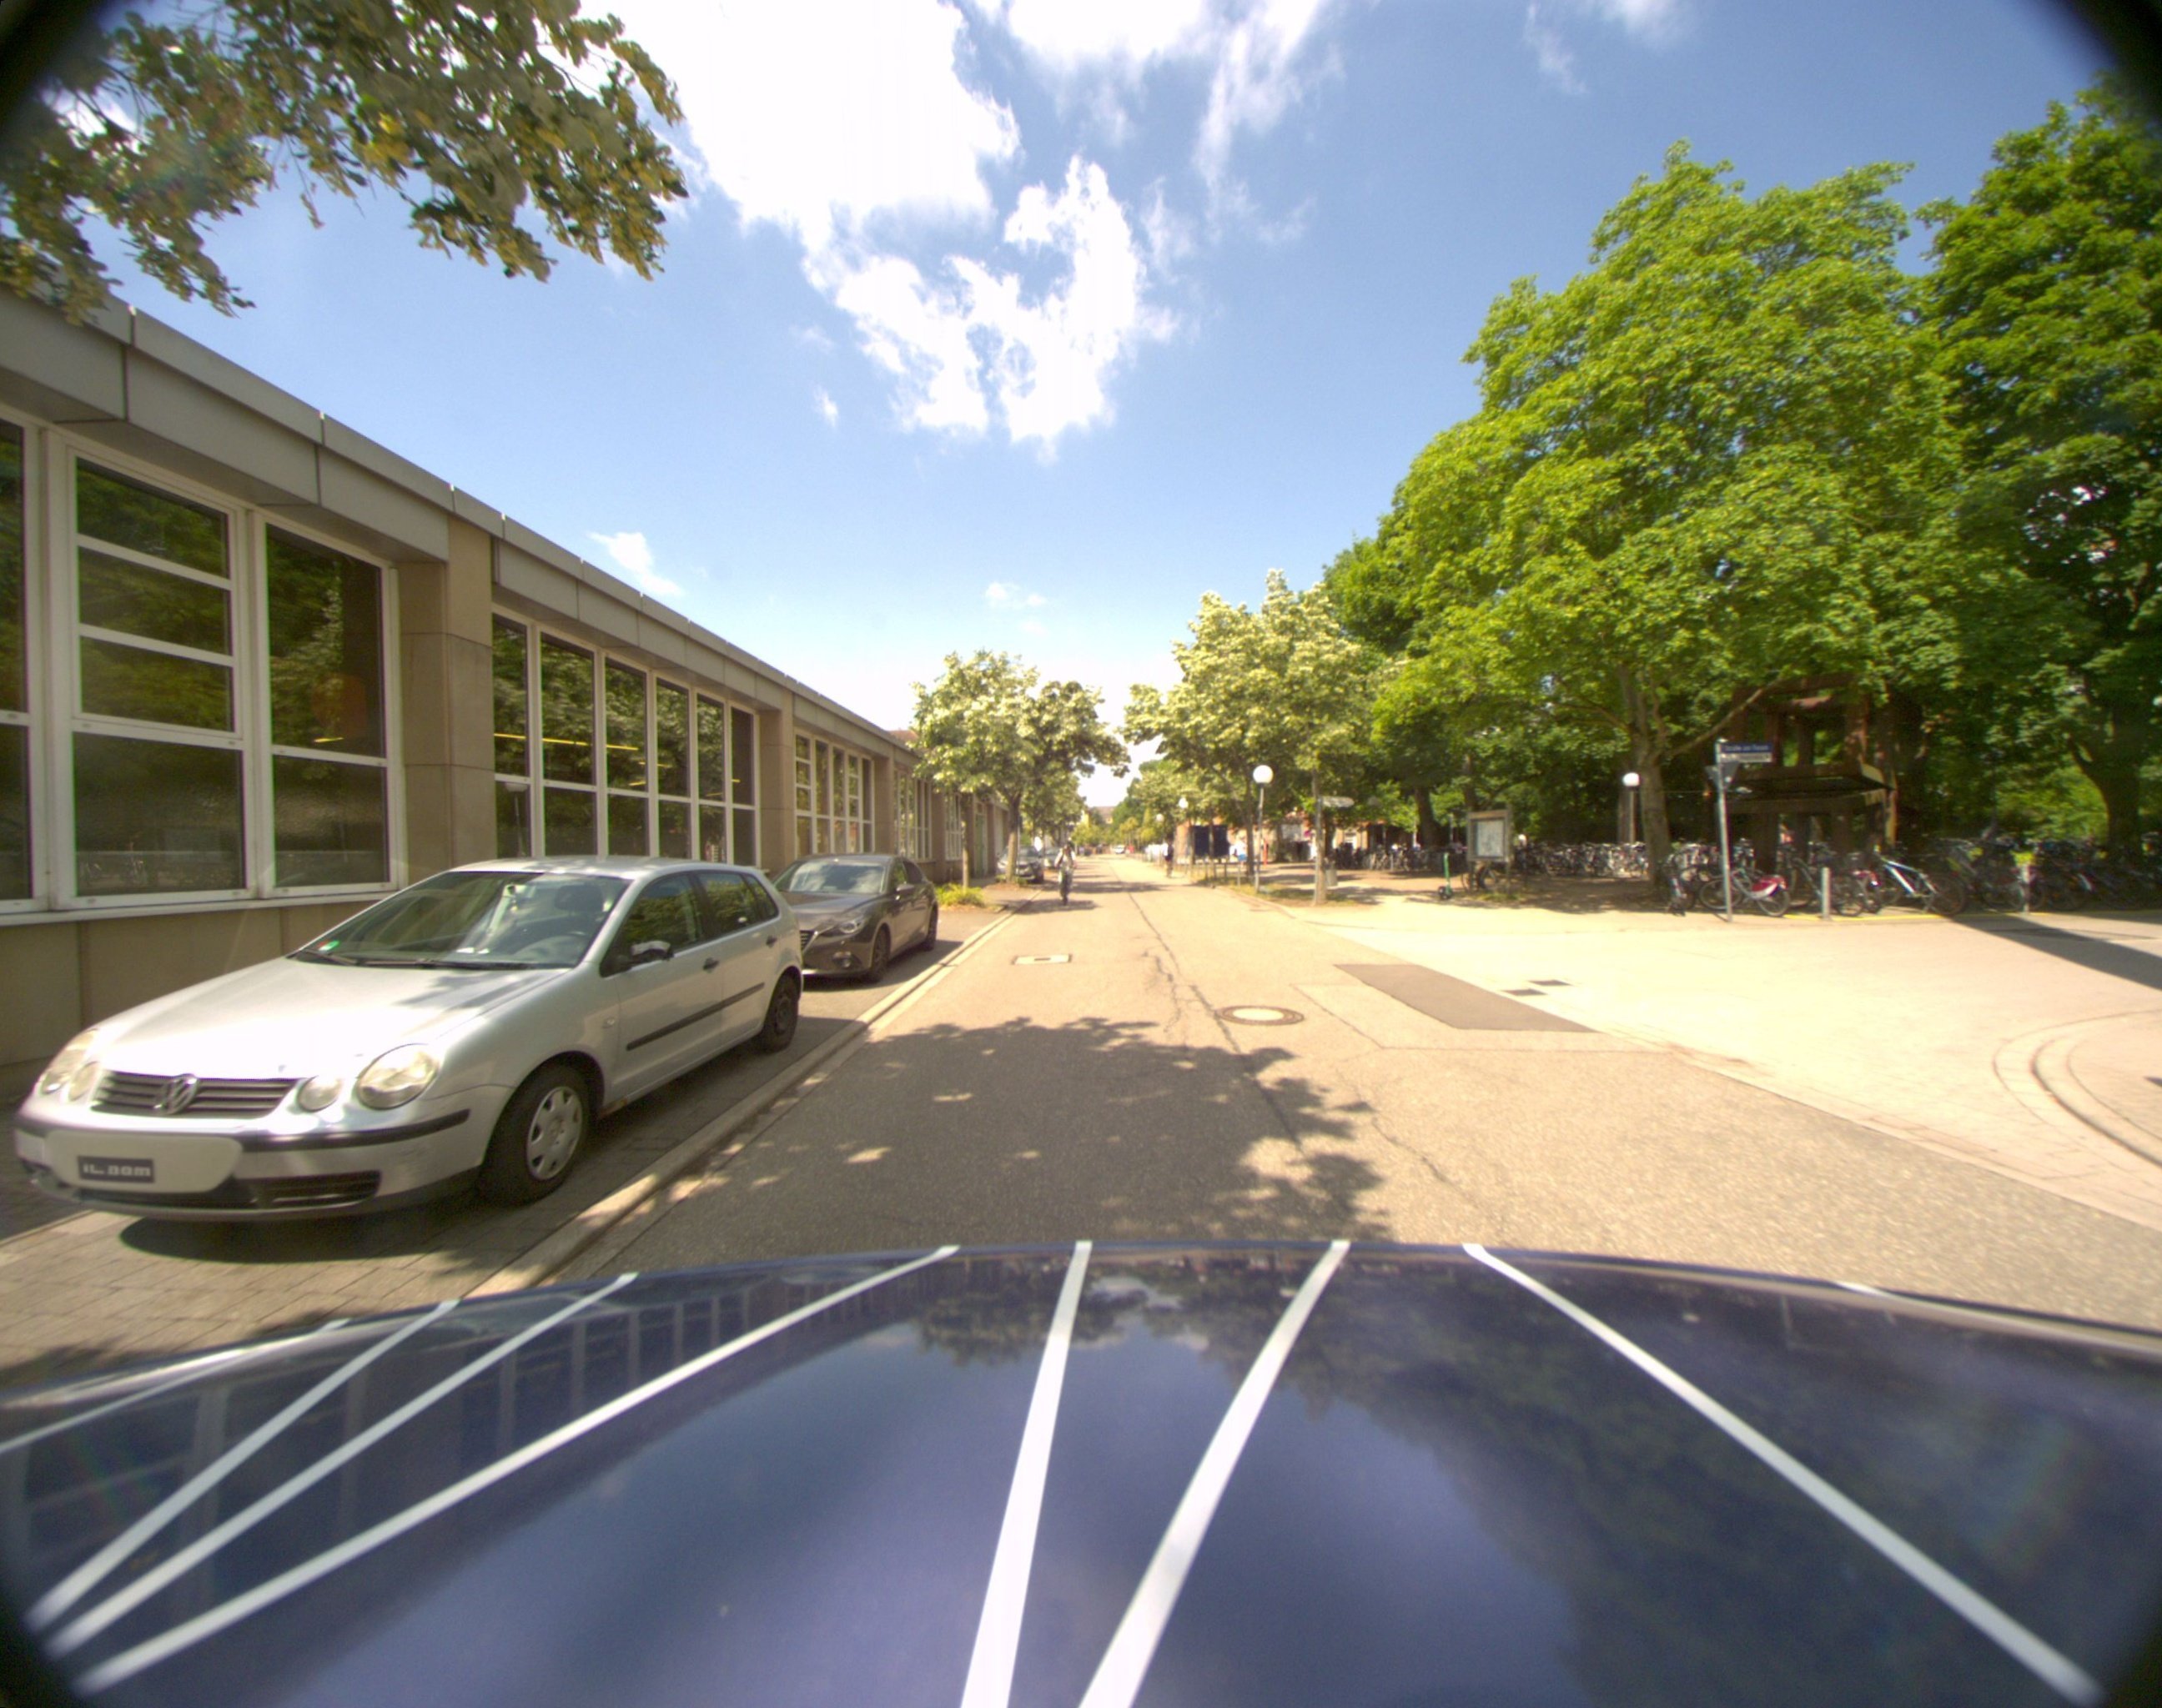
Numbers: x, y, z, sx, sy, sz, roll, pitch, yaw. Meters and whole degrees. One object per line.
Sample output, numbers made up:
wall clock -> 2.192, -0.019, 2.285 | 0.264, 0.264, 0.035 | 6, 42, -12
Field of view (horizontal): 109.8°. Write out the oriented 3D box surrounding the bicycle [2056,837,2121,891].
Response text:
bicycle -> 24.231, 0.206, 18.312 | 2.917, 1.149, 0.741 | -3, 1, -41

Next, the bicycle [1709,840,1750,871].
bicycle -> 25.195, 0.046, 29.515 | 2.064, 1.126, 0.638 | -2, 0, -33

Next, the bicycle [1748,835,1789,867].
bicycle -> 25.864, -0.121, 28.571 | 2.064, 1.126, 0.638 | -2, 0, -33

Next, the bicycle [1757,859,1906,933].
bicycle -> 12.472, 0.656, 12.719 | 0.553, 1.080, 1.973 | -3, 1, 2

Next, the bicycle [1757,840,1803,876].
bicycle -> 24.035, 0.126, 26.114 | 2.063, 1.126, 0.638 | -4, 2, -33

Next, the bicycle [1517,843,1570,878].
bicycle -> 17.696, 0.221, 29.024 | 2.914, 1.213, 0.880 | -2, 1, -41

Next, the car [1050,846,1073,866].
car -> -1.529, 0.138, 60.074 | 1.730, 1.459, 4.671 | 0, 1, 0

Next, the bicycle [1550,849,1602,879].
bicycle -> 18.254, 0.359, 28.000 | 2.739, 0.997, 0.880 | -2, 1, -41

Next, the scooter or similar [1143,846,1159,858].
scooter or similar -> 7.648, -0.196, 82.744 | 1.571, 1.218, 0.571 | -1, 2, 29

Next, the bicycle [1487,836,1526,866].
bicycle -> 19.195, -0.149, 34.283 | 2.064, 1.227, 0.638 | -3, 1, -33

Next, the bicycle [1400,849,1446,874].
bicycle -> 15.188, 0.316, 33.748 | 2.157, 1.003, 0.676 | -2, 1, -29

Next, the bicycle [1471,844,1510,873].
bicycle -> 18.847, 0.201, 34.962 | 2.064, 1.227, 0.638 | -2, 1, -33

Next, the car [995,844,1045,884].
car -> -2.567, 0.382, 33.143 | 1.827, 1.654, 4.583 | 0, 1, 0

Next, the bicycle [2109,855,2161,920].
bicycle -> 18.700, 0.579, 12.641 | 0.553, 1.080, 1.973 | -3, 1, 2

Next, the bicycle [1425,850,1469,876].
bicycle -> 15.693, 0.373, 32.501 | 2.656, 1.003, 0.676 | -2, 1, -41

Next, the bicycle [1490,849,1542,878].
bicycle -> 17.100, 0.359, 29.851 | 2.789, 1.009, 0.880 | -2, 1, -41

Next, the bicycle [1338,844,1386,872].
bicycle -> 13.671, 0.203, 36.943 | 2.061, 1.227, 0.808 | -3, 2, -16

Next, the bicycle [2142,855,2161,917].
bicycle -> 19.314, 0.570, 12.650 | 0.553, 1.080, 1.973 | -3, 1, 2

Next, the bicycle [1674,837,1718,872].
bicycle -> 22.920, 0.020, 28.311 | 2.063, 1.126, 0.638 | -5, 2, -33

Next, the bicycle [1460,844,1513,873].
bicycle -> 16.335, 0.163, 30.552 | 2.839, 1.044, 0.880 | -2, 1, -41

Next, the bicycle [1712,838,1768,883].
bicycle -> 20.601, 0.168, 23.731 | 2.939, 1.279, 0.880 | -2, 1, -41

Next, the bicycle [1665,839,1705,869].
bicycle -> 24.385, -0.010, 30.676 | 2.064, 1.126, 0.638 | -2, 1, -33

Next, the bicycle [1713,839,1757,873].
bicycle -> 23.321, 0.062, 27.073 | 2.064, 1.126, 0.638 | -2, 0, -33

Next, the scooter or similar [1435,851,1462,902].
scooter or similar -> 8.983, 0.538, 18.551 | 0.339, 1.169, 1.331 | -1, 1, 37

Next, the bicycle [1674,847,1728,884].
bicycle -> 20.070, 0.344, 24.581 | 2.689, 1.070, 0.880 | -2, 1, -41

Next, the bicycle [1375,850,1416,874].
bicycle -> 14.415, 0.364, 34.809 | 1.894, 1.003, 0.676 | -2, 1, -28

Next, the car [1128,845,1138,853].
car -> 12.126, -1.086, 177.201 | 1.912, 1.871, 4.002 | -1, 0, 8

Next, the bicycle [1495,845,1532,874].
bicycle -> 19.020, 0.249, 33.412 | 2.063, 1.126, 0.478 | -5, 2, -33

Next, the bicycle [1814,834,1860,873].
bicycle -> 24.775, -0.028, 24.889 | 2.063, 1.126, 0.638 | -5, 2, -33

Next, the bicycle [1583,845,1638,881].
bicycle -> 18.916, 0.306, 27.110 | 2.889, 1.171, 0.880 | -2, 1, -41

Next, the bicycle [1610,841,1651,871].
bicycle -> 21.779, 0.083, 30.102 | 2.064, 1.126, 0.638 | -2, 0, -33

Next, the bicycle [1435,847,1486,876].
bicycle -> 15.703, 0.295, 31.370 | 2.756, 1.080, 0.880 | -2, 1, -41

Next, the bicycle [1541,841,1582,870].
bicycle -> 20.225, 0.072, 31.935 | 2.064, 1.151, 0.638 | -2, 1, -33

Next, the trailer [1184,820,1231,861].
trailer -> 9.975, -1.032, 60.464 | 2.703, 3.009, 6.266 | -2, 1, 1

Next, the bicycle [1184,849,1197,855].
bicycle -> 17.575, -0.332, 121.563 | 1.955, 1.024, 0.518 | -1, 1, 0

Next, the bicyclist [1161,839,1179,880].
bicyclist -> 4.418, 0.262, 37.725 | 0.713, 2.002, 1.018 | 0, 1, -1

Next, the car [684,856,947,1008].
car -> -3.098, 0.798, 9.972 | 1.785, 1.468, 4.461 | 0, 1, 1

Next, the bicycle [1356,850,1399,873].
bicycle -> 14.031, 0.332, 35.903 | 2.157, 1.003, 0.676 | -2, 1, -30

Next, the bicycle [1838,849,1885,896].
bicycle -> 22.468, 0.503, 21.848 | 2.965, 1.120, 0.741 | -5, 3, -41

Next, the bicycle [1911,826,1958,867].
bicycle -> 26.070, -0.236, 23.192 | 2.063, 1.126, 0.638 | -5, 2, -33

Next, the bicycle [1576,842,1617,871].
bicycle -> 21.139, 0.094, 31.161 | 2.064, 1.126, 0.638 | -3, 1, -33

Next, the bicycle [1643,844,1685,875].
bicycle -> 22.409, 0.213, 29.182 | 2.064, 1.126, 0.638 | -2, 0, -33

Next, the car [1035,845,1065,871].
car -> -1.946, 0.223, 48.749 | 1.708, 1.565, 4.139 | 0, 1, 0

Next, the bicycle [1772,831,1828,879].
bicycle -> 21.190, 0.001, 22.354 | 3.089, 1.289, 0.880 | -2, 1, -41

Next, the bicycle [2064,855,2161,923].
bicycle -> 18.124, 0.578, 12.812 | 0.553, 1.080, 1.973 | -3, 1, 2

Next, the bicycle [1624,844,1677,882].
bicycle -> 19.416, 0.302, 25.884 | 2.714, 1.172, 0.880 | -2, 1, -41

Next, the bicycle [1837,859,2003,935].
bicycle -> 13.579, 0.657, 12.392 | 0.553, 1.080, 1.973 | -3, 1, 2

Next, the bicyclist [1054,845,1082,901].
bicyclist -> -0.349, 0.514, 21.202 | 0.675, 1.470, 1.062 | -1, 3, 3

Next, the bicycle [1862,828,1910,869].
bicycle -> 25.450, -0.183, 24.022 | 2.063, 1.126, 0.673 | -5, 2, -33

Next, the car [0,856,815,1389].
car -> -3.009, 0.829, 4.171 | 1.620, 1.530, 3.779 | -1, 1, 2

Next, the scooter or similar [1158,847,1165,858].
scooter or similar -> 8.447, -0.183, 80.073 | 0.564, 1.142, 1.351 | -1, 1, 13
